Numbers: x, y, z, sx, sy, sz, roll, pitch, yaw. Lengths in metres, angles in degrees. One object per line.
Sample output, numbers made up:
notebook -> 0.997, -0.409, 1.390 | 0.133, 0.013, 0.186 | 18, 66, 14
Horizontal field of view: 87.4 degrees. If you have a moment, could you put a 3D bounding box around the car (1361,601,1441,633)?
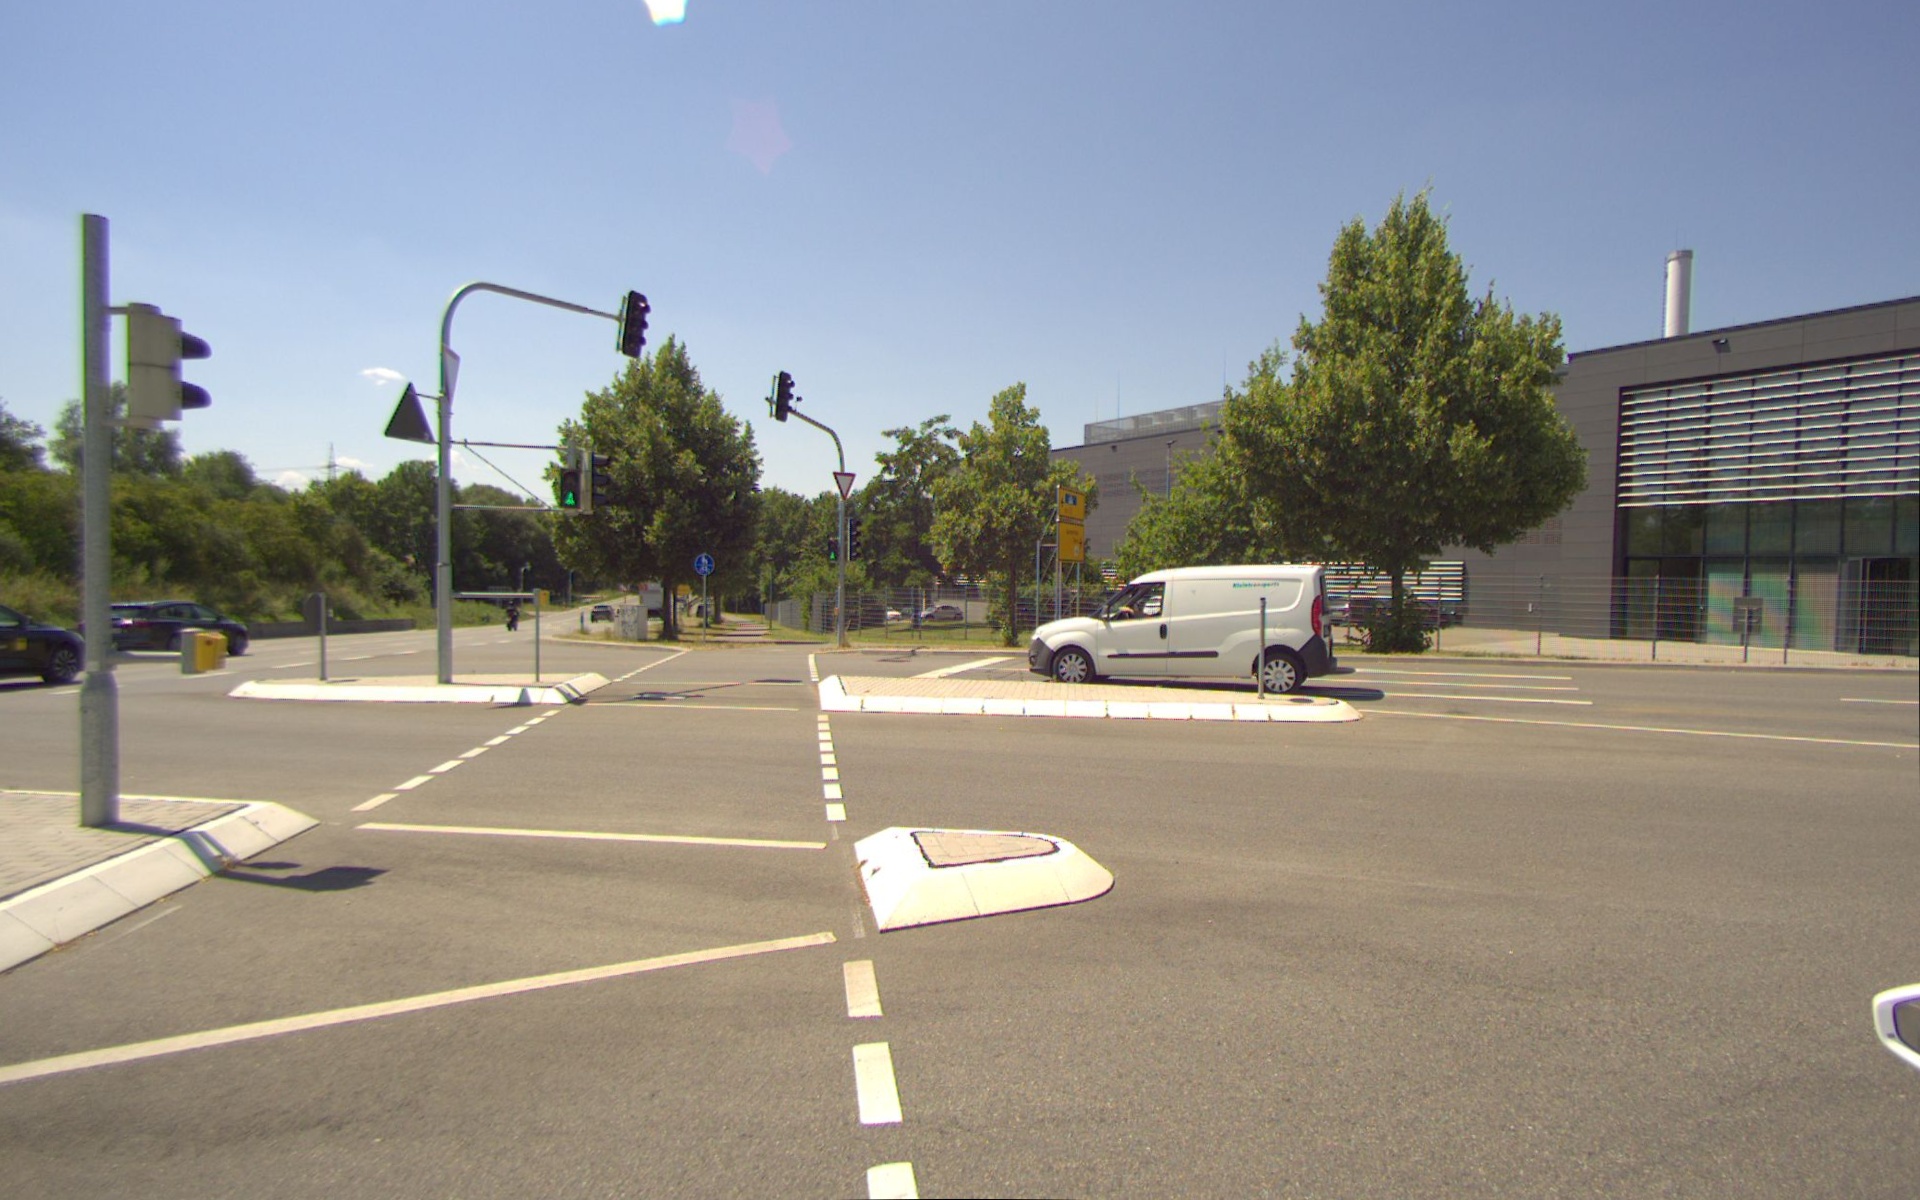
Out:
car -> 21.542, 0.836, 49.017 | 3.964, 1.505, 1.979 | 1, -2, -38

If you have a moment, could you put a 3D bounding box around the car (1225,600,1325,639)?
car -> 12.888, 0.818, 41.026 | 3.964, 1.505, 1.979 | 1, -2, -38

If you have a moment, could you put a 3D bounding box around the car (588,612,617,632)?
car -> -32.375, 2.021, 90.951 | 1.965, 1.773, 3.991 | 0, -2, -13

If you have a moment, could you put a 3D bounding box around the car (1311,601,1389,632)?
car -> 19.825, 0.845, 51.013 | 3.964, 1.505, 1.979 | 1, -2, -38

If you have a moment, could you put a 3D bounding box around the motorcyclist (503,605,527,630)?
motorcyclist -> -25.556, 1.020, 57.674 | 0.858, 1.430, 1.176 | -1, -1, 1

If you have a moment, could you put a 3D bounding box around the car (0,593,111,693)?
car -> -14.969, 0.640, 14.624 | 1.706, 1.461, 4.297 | 0, 0, -3

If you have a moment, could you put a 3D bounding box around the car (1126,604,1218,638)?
car -> 9.609, 0.957, 45.397 | 3.964, 1.505, 1.979 | 1, -2, -38

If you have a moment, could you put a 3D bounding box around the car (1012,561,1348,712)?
car -> 3.384, 0.425, 15.516 | 4.777, 1.969, 1.998 | 1, 5, 23

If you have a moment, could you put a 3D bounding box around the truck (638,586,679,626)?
truck -> -29.983, 0.653, 100.182 | 3.218, 3.890, 6.192 | 0, -2, -10

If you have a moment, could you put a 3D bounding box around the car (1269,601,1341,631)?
car -> 18.365, 0.875, 53.407 | 3.964, 1.549, 1.801 | 1, -2, -38

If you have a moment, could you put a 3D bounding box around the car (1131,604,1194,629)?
car -> 12.651, 1.023, 62.672 | 3.964, 1.479, 1.753 | 1, -2, -38

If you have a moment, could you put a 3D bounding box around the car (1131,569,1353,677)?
car -> 5.325, 0.347, 18.918 | 3.790, 1.730, 1.998 | 1, 5, 23

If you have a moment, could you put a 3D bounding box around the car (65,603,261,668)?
car -> -19.847, 0.881, 25.295 | 1.706, 1.461, 4.390 | 0, -2, -5

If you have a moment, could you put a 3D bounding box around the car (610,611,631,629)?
car -> -40.184, 2.401, 118.927 | 1.966, 2.040, 3.990 | 0, -2, -14

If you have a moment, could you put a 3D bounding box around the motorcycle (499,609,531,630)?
motorcycle -> -25.553, 1.106, 57.718 | 0.846, 1.157, 2.170 | -1, 0, 1
